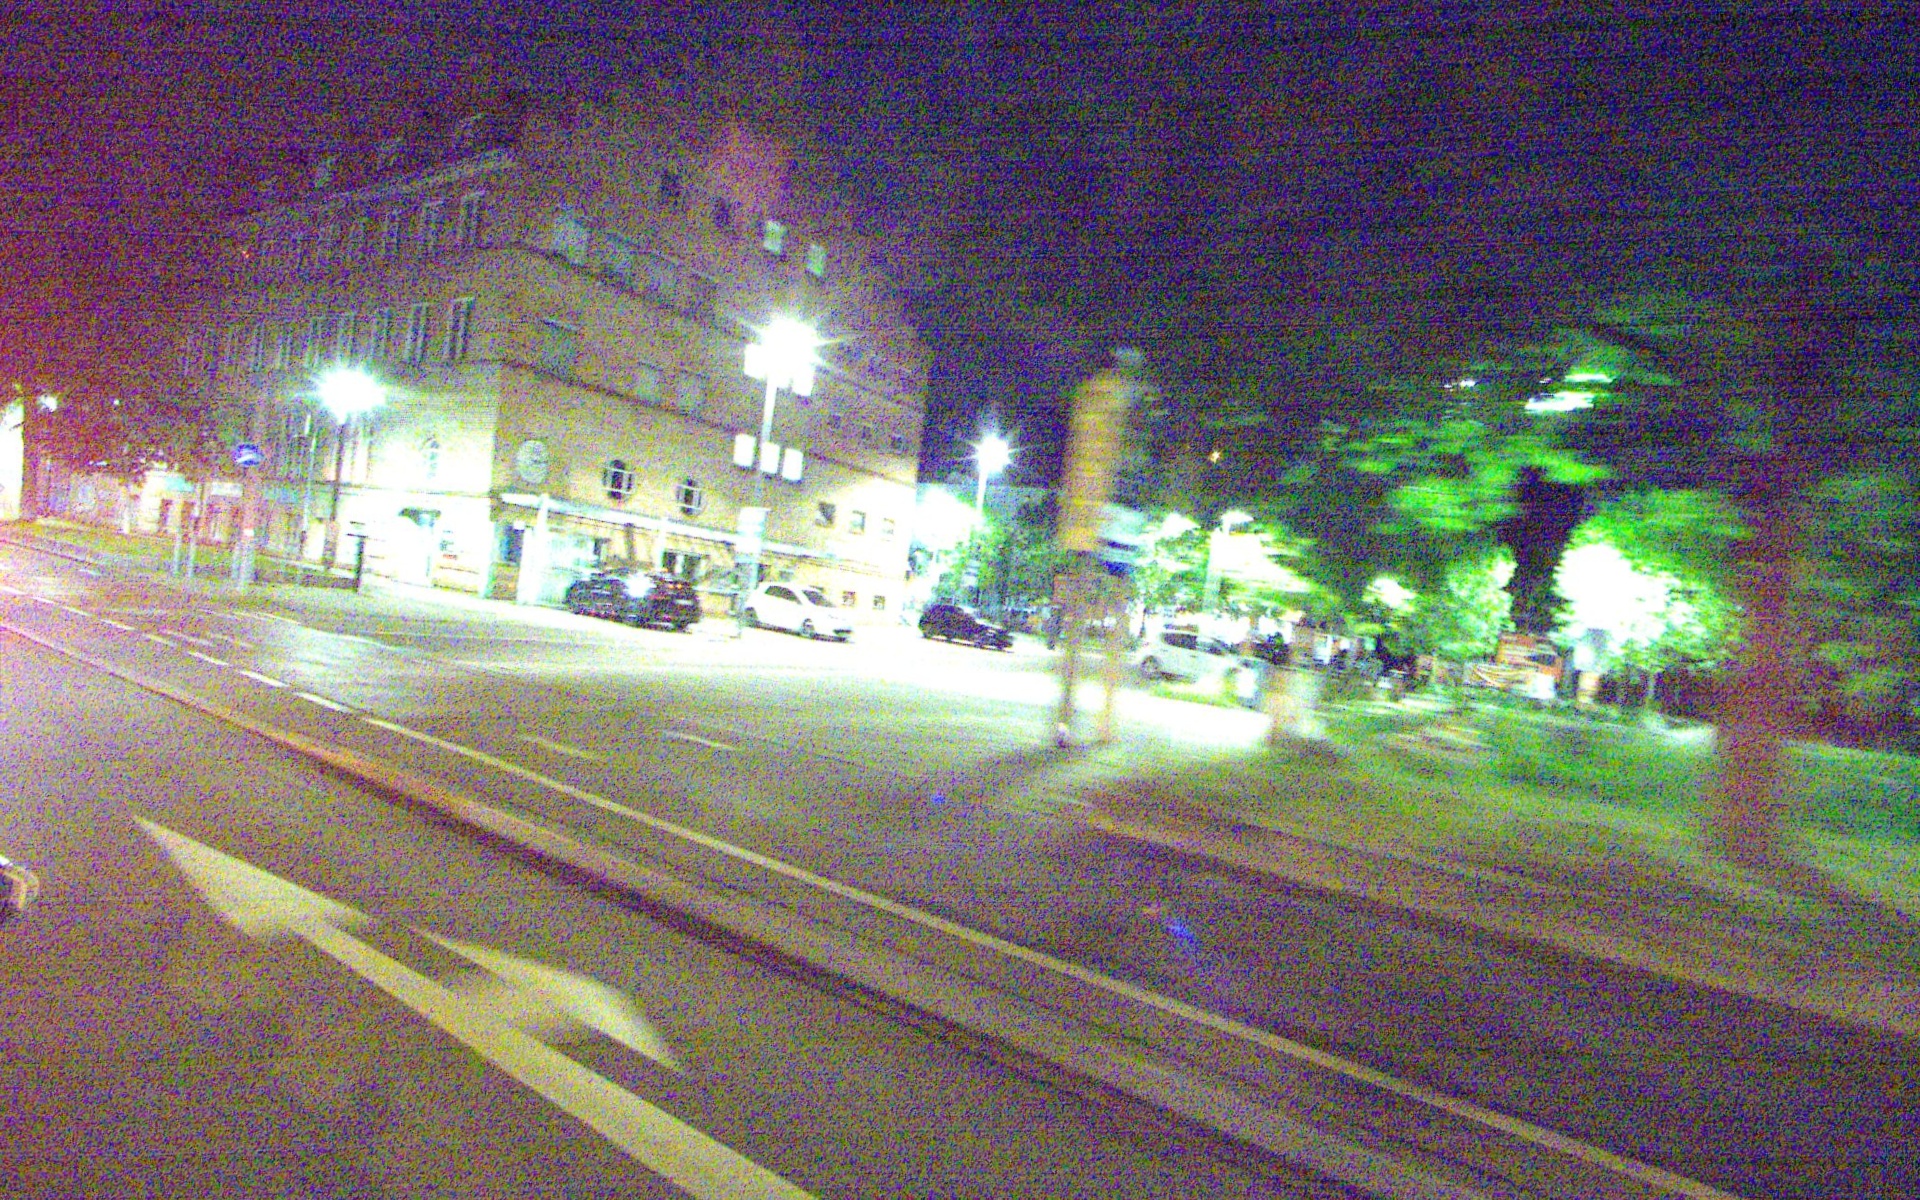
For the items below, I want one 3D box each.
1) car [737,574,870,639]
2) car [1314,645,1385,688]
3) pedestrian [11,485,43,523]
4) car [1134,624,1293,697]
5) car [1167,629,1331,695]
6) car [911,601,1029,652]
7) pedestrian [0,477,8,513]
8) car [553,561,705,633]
[{"bbox_3d":[-5.044,0.204,32.197,3.937,1.552,1.782,7,0,35],"label":"car"},{"bbox_3d":[19.299,3.307,49.694,2.047,1.787,4.538,7,0,35],"label":"car"},{"bbox_3d":[-48.073,-4.928,51.832,0.892,1.791,0.901,7,1,34],"label":"pedestrian"},{"bbox_3d":[7.362,1.750,29.345,4.033,1.552,1.769,7,0,34],"label":"car"},{"bbox_3d":[9.615,2.043,33.593,4.812,1.531,1.890,7,0,33],"label":"car"},{"bbox_3d":[0.366,1.053,40.017,4.172,1.446,1.995,7,0,34],"label":"car"},{"bbox_3d":[-48.652,-5.336,50.680,0.892,1.791,0.739,7,2,34],"label":"pedestrian"},{"bbox_3d":[-8.987,-0.097,27.163,4.412,1.412,1.513,7,0,36],"label":"car"}]
